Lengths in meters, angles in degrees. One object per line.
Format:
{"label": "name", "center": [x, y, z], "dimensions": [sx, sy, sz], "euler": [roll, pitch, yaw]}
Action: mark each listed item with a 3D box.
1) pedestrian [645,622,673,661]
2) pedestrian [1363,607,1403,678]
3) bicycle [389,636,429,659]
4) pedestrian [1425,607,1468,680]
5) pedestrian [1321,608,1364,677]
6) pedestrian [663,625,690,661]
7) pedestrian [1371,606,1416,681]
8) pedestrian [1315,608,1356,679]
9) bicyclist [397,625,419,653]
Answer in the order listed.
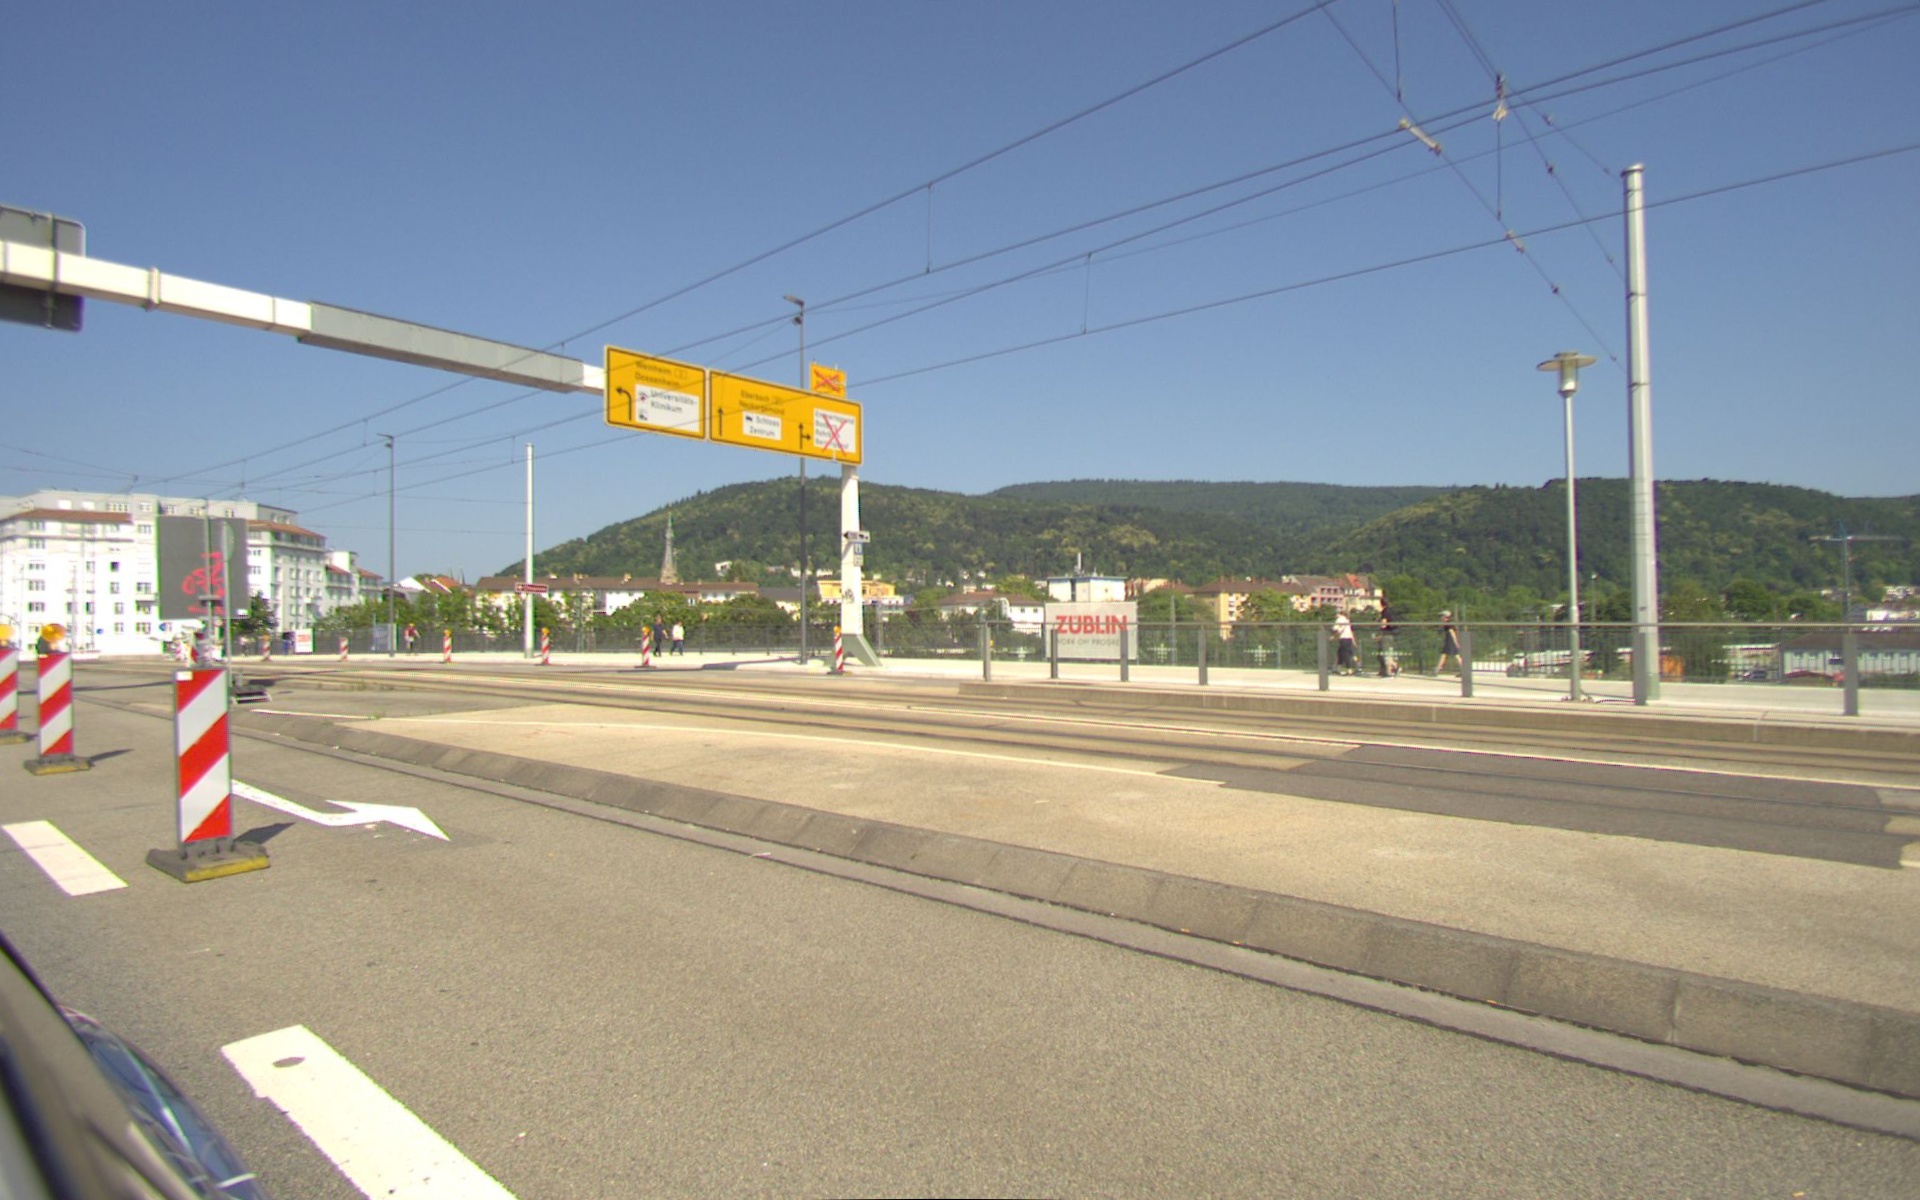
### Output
{"label": "pedestrian", "center": [-13.121, 1.805, 44.183], "dimensions": [0.894, 1.654, 0.736], "euler": [-3, 0, 39]}
{"label": "pedestrian", "center": [10.250, 1.025, 24.545], "dimensions": [0.770, 1.700, 0.379], "euler": [-3, -3, 42]}
{"label": "bicycle", "center": [-31.038, 2.694, 57.014], "dimensions": [3.068, 1.204, 0.848], "euler": [-3, -1, 38]}
{"label": "pedestrian", "center": [11.596, 1.028, 24.109], "dimensions": [0.772, 1.700, 0.498], "euler": [-3, -3, 42]}
{"label": "pedestrian", "center": [9.611, 1.060, 25.409], "dimensions": [0.817, 1.700, 0.591], "euler": [-3, -3, 42]}
{"label": "pedestrian", "center": [-12.575, 1.890, 44.858], "dimensions": [0.888, 1.556, 0.712], "euler": [-3, 0, 39]}
{"label": "pedestrian", "center": [10.143, 1.013, 23.681], "dimensions": [0.731, 1.700, 0.744], "euler": [-3, -3, 42]}
{"label": "pedestrian", "center": [9.240, 1.068, 24.915], "dimensions": [0.808, 1.700, 0.481], "euler": [-3, -3, 42]}
{"label": "bicyclist", "center": [-31.162, 2.217, 57.114], "dimensions": [0.816, 1.530, 0.848], "euler": [-3, -1, 38]}
